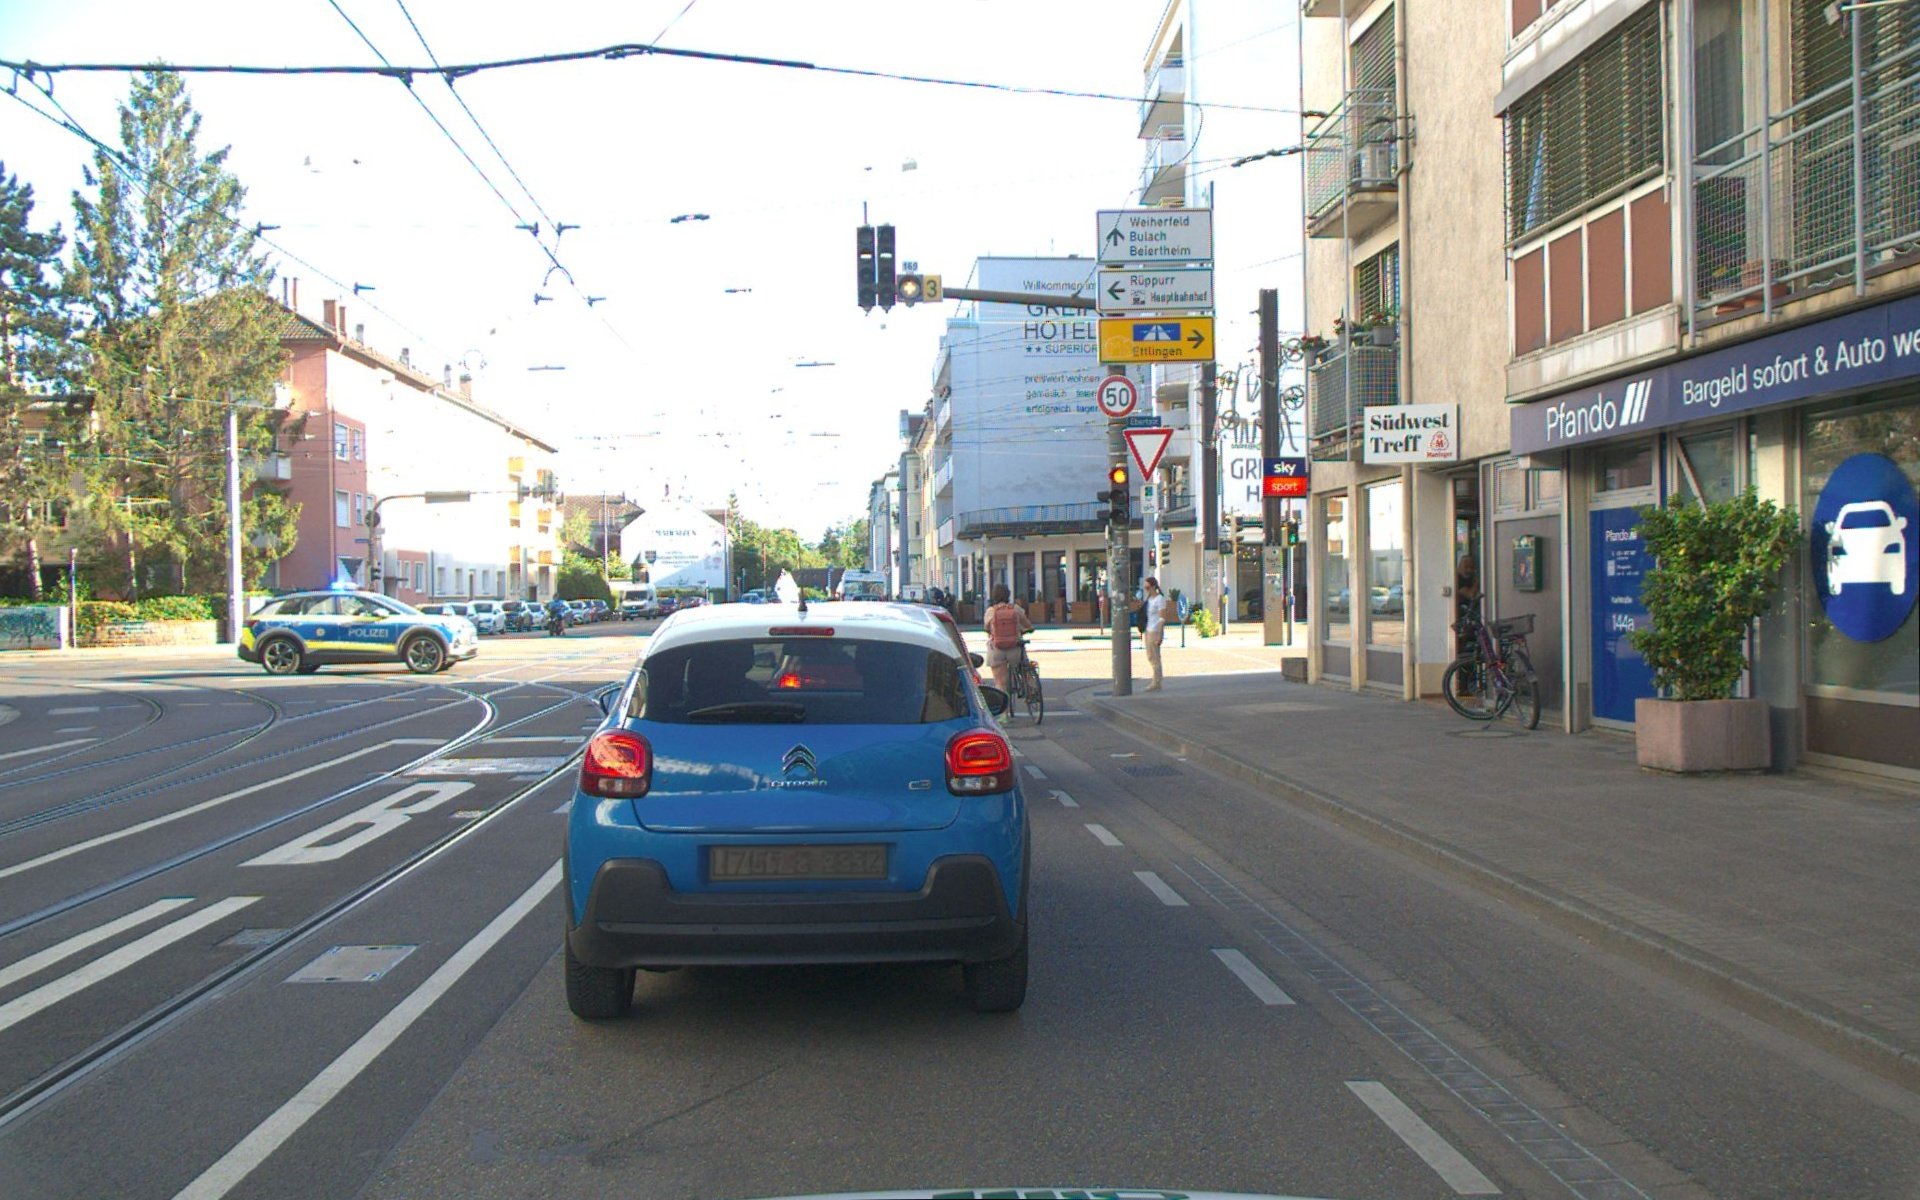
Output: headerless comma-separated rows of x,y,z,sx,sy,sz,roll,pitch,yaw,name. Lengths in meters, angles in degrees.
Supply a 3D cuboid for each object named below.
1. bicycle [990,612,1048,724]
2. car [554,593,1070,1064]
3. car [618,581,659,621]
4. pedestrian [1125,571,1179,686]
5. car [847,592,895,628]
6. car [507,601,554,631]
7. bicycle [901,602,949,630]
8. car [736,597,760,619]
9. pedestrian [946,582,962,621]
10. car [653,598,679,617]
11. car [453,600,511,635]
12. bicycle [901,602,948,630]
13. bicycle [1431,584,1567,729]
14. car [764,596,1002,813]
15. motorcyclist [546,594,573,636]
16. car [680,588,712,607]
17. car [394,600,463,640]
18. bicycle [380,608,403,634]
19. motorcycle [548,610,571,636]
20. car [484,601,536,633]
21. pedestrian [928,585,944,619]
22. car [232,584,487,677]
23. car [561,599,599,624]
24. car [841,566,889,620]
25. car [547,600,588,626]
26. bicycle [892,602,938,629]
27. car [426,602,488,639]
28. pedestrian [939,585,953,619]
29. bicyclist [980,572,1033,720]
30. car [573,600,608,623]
0.723,0.813,20.627,0.601,1.286,1.910,-1,0,-1,bicycle
-0.610,0.731,7.341,1.647,1.488,3.997,1,0,-4,car
-23.224,0.068,119.568,2.446,2.759,5.828,-1,0,-7,car
2.827,0.410,24.399,0.735,1.663,0.740,-1,0,5,pedestrian
-3.675,0.381,67.731,1.752,1.383,3.909,-1,0,-6,car
-23.763,0.857,91.558,1.913,1.545,3.995,-1,0,-6,car
-1.392,0.637,65.771,1.868,1.083,0.641,-1,0,-8,bicycle
-21.812,0.805,170.483,2.293,2.074,5.044,-1,0,-6,car
-0.268,0.059,71.091,0.544,1.676,0.536,-1,0,-16,pedestrian
-25.575,0.643,144.156,1.913,1.545,3.995,-1,0,-6,car
-22.755,0.822,78.852,1.913,1.545,3.995,-1,0,-6,car
-1.445,0.662,67.075,1.868,1.083,0.641,-1,0,-8,bicycle
5.115,0.503,15.810,0.627,1.286,1.910,-1,0,-1,bicycle
-0.677,0.726,13.550,1.647,1.488,3.997,1,0,-4,car
-16.204,0.607,66.943,0.973,1.659,0.737,-1,0,-10,motorcyclist
-24.208,-0.199,151.503,1.975,1.656,5.024,-1,0,-20,car
-22.013,0.793,68.641,1.913,1.545,3.995,-1,0,-6,car
-25.671,0.944,74.683,0.597,1.101,1.908,-1,0,-7,bicycle
-16.224,0.940,67.011,0.738,0.993,2.092,-1,0,-9,motorcycle
-23.233,0.841,85.509,1.913,1.545,3.995,-1,0,-6,car
-1.009,0.086,70.229,0.514,1.445,0.547,-1,0,19,pedestrian
-11.957,0.591,33.176,4.446,1.713,1.790,-1,0,-5,car
-24.850,0.750,108.253,1.913,1.545,3.995,-1,0,-6,car
-4.230,-0.321,73.169,2.039,2.309,5.646,0,0,-4,car
-24.408,0.809,102.980,1.913,1.545,3.995,-1,0,-6,car
-1.859,0.639,68.262,1.868,1.083,0.641,-1,0,-8,bicycle
-22.553,0.878,74.246,1.913,1.545,4.040,-1,0,-6,car
-0.584,0.081,69.984,0.459,1.445,0.525,-1,0,-13,pedestrian
0.570,0.551,20.587,0.588,1.776,1.084,-1,0,-1,bicyclist
-25.566,0.789,114.584,1.913,1.545,3.995,-1,0,-6,car
